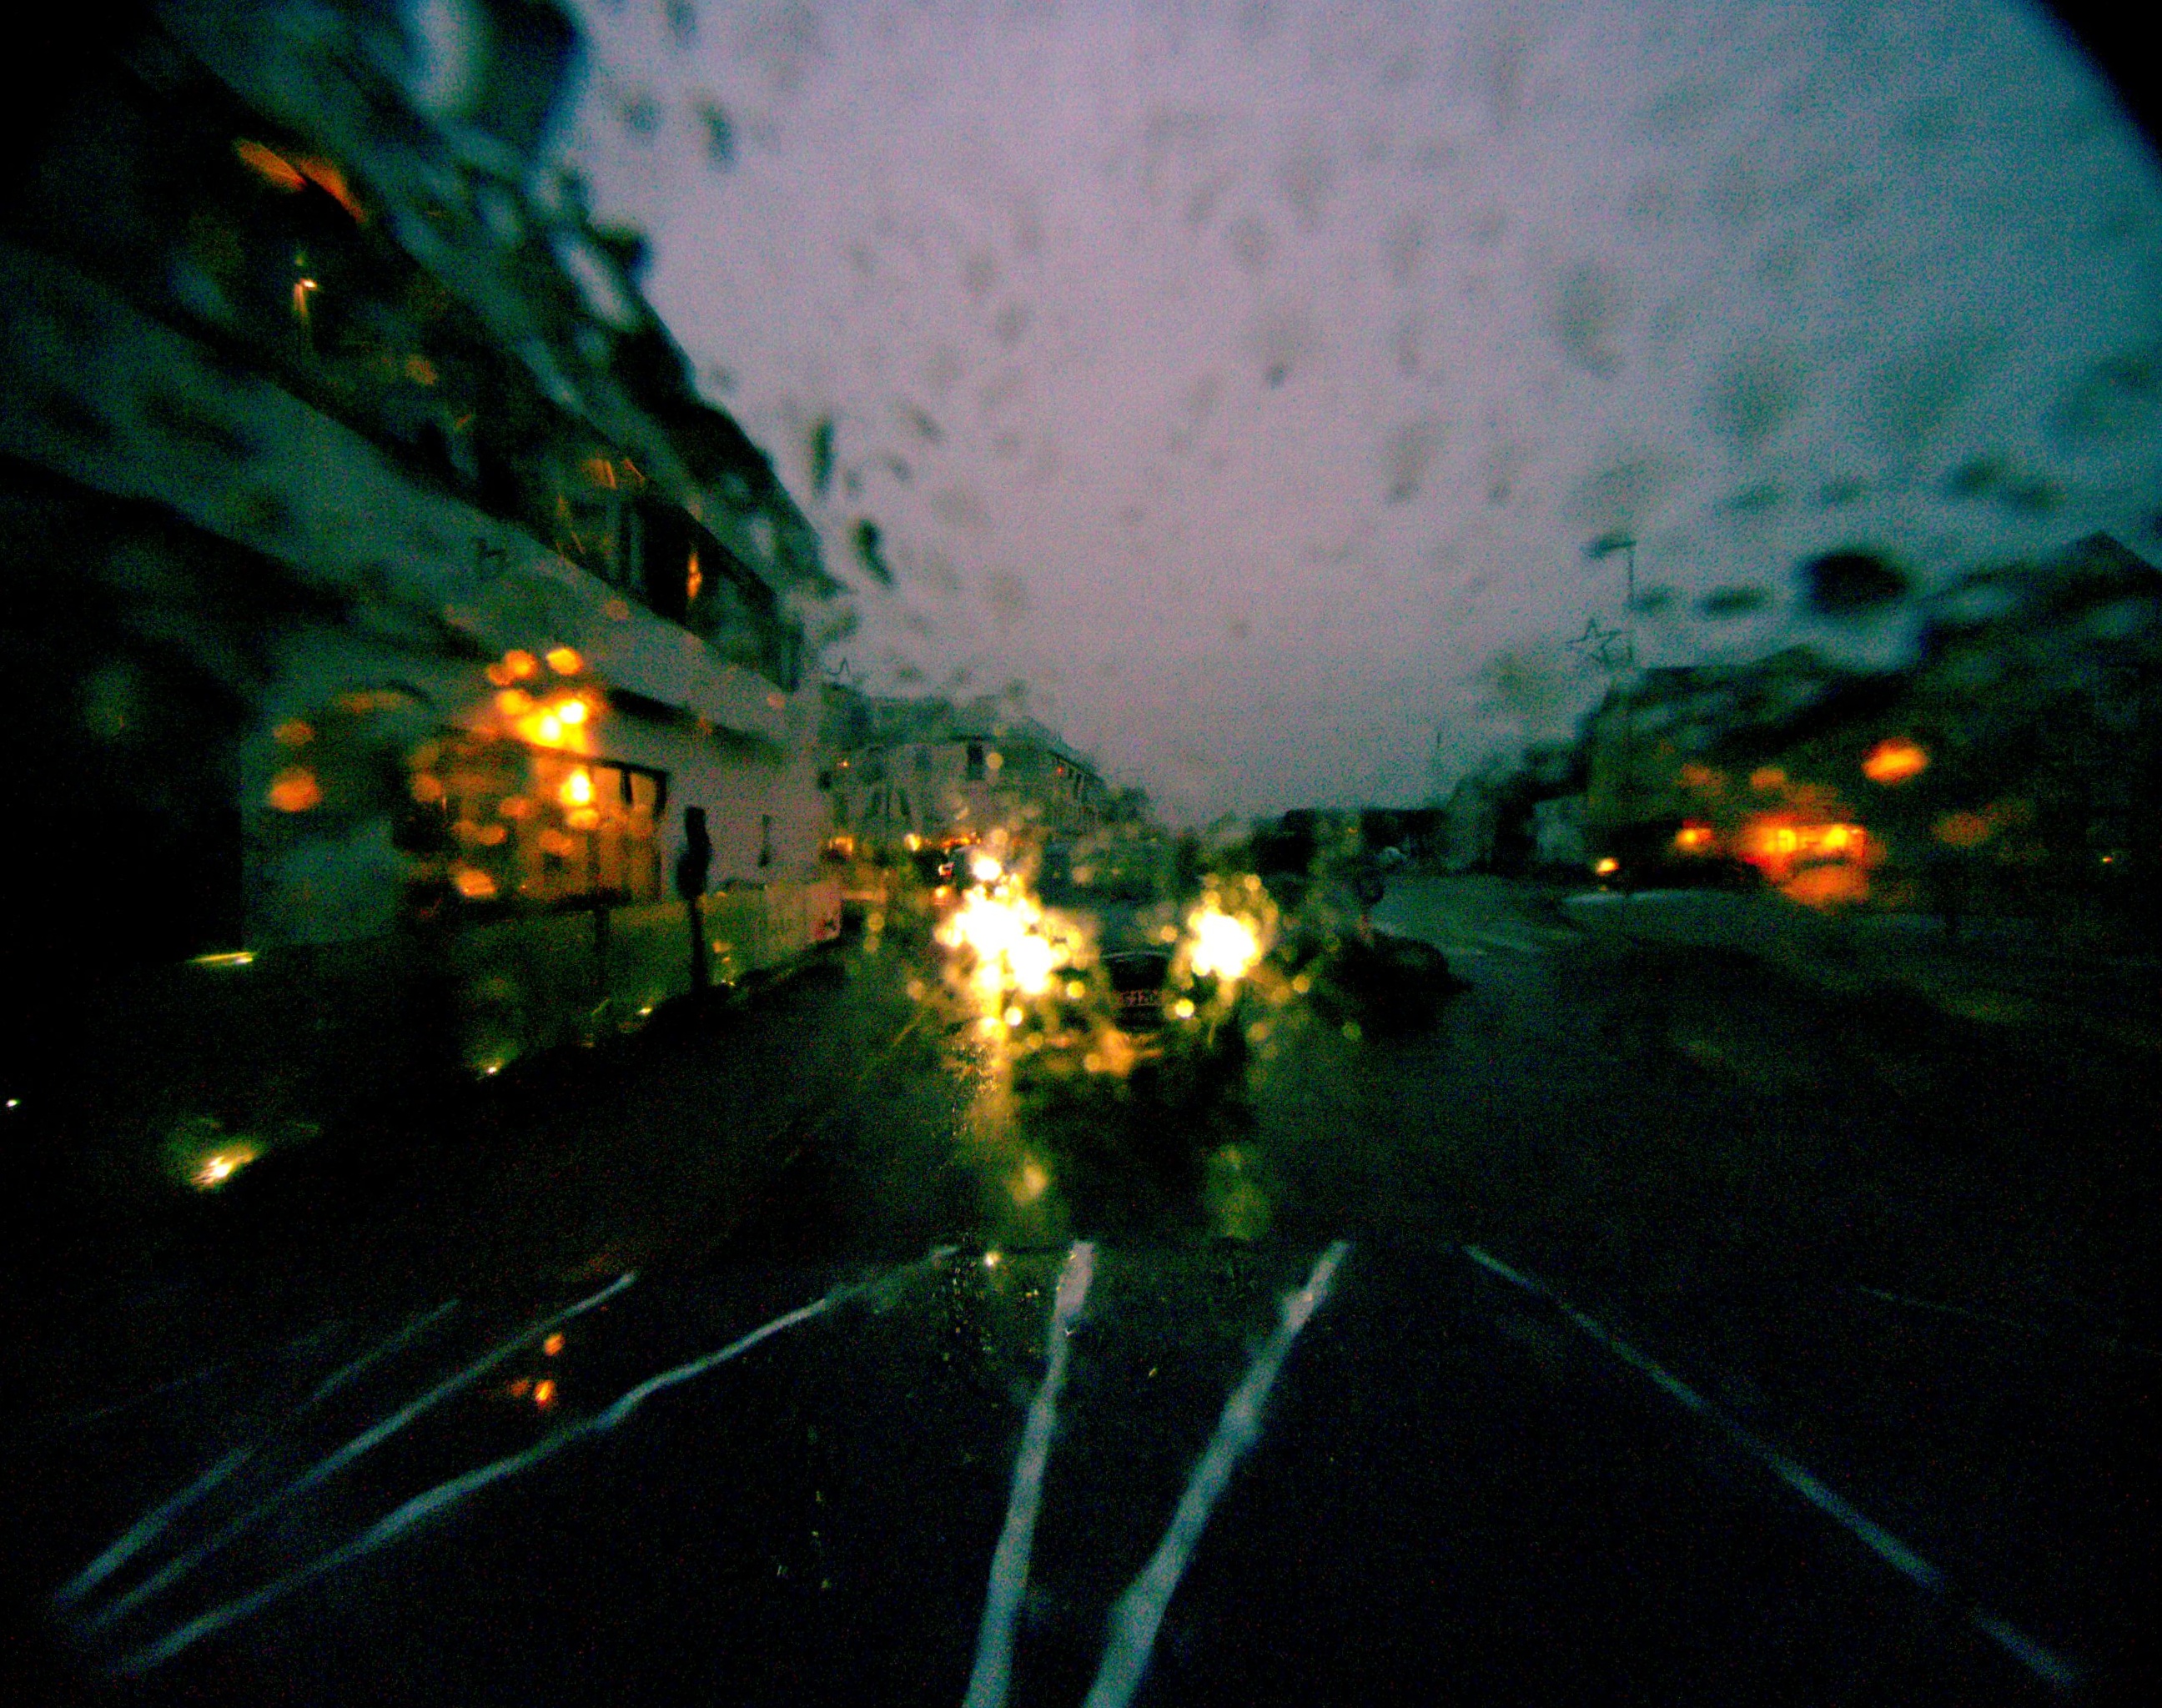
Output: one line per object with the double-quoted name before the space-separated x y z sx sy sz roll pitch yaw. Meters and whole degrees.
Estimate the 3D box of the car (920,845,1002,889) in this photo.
"car" -5.419 0.575 34.881 1.822 1.736 4.005 -1 3 23

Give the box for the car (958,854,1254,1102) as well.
"car" 0.175 0.837 7.162 1.958 1.576 4.109 -1 1 0

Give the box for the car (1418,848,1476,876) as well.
"car" 27.311 0.535 56.828 1.936 1.871 3.866 -3 2 -13

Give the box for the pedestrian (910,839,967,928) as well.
"pedestrian" -2.954 0.584 15.763 0.789 1.752 0.770 1 4 44

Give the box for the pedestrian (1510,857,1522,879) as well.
"pedestrian" 31.642 1.025 55.279 0.582 1.602 0.500 -2 3 5

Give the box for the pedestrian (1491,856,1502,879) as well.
"pedestrian" 30.684 1.000 56.100 0.582 1.602 0.500 -2 3 5

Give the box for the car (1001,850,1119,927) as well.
"car" -0.631 0.694 17.833 1.765 1.471 4.013 -3 2 -16

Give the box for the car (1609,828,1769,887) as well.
"car" 22.456 0.104 28.333 4.452 2.003 2.003 -1 3 31

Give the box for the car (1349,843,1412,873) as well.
"car" 22.011 0.266 55.978 1.974 1.984 3.990 -3 3 -26

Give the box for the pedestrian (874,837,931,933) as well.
"pedestrian" -3.594 0.598 15.321 0.789 1.856 0.711 1 4 44

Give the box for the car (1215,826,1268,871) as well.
"car" 8.061 -0.334 37.756 2.055 1.976 4.541 -1 3 18

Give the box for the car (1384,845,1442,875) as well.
"car" 24.635 0.370 56.541 1.926 2.003 3.966 -3 2 -13

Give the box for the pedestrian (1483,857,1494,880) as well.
"pedestrian" 29.919 1.055 55.795 0.582 1.602 0.500 -2 3 5

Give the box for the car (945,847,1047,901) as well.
"car" -2.943 0.584 25.203 2.031 1.471 4.548 -3 3 -24

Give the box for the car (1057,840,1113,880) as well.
"car" 0.188 0.196 32.520 2.172 1.469 3.998 -2 2 1
